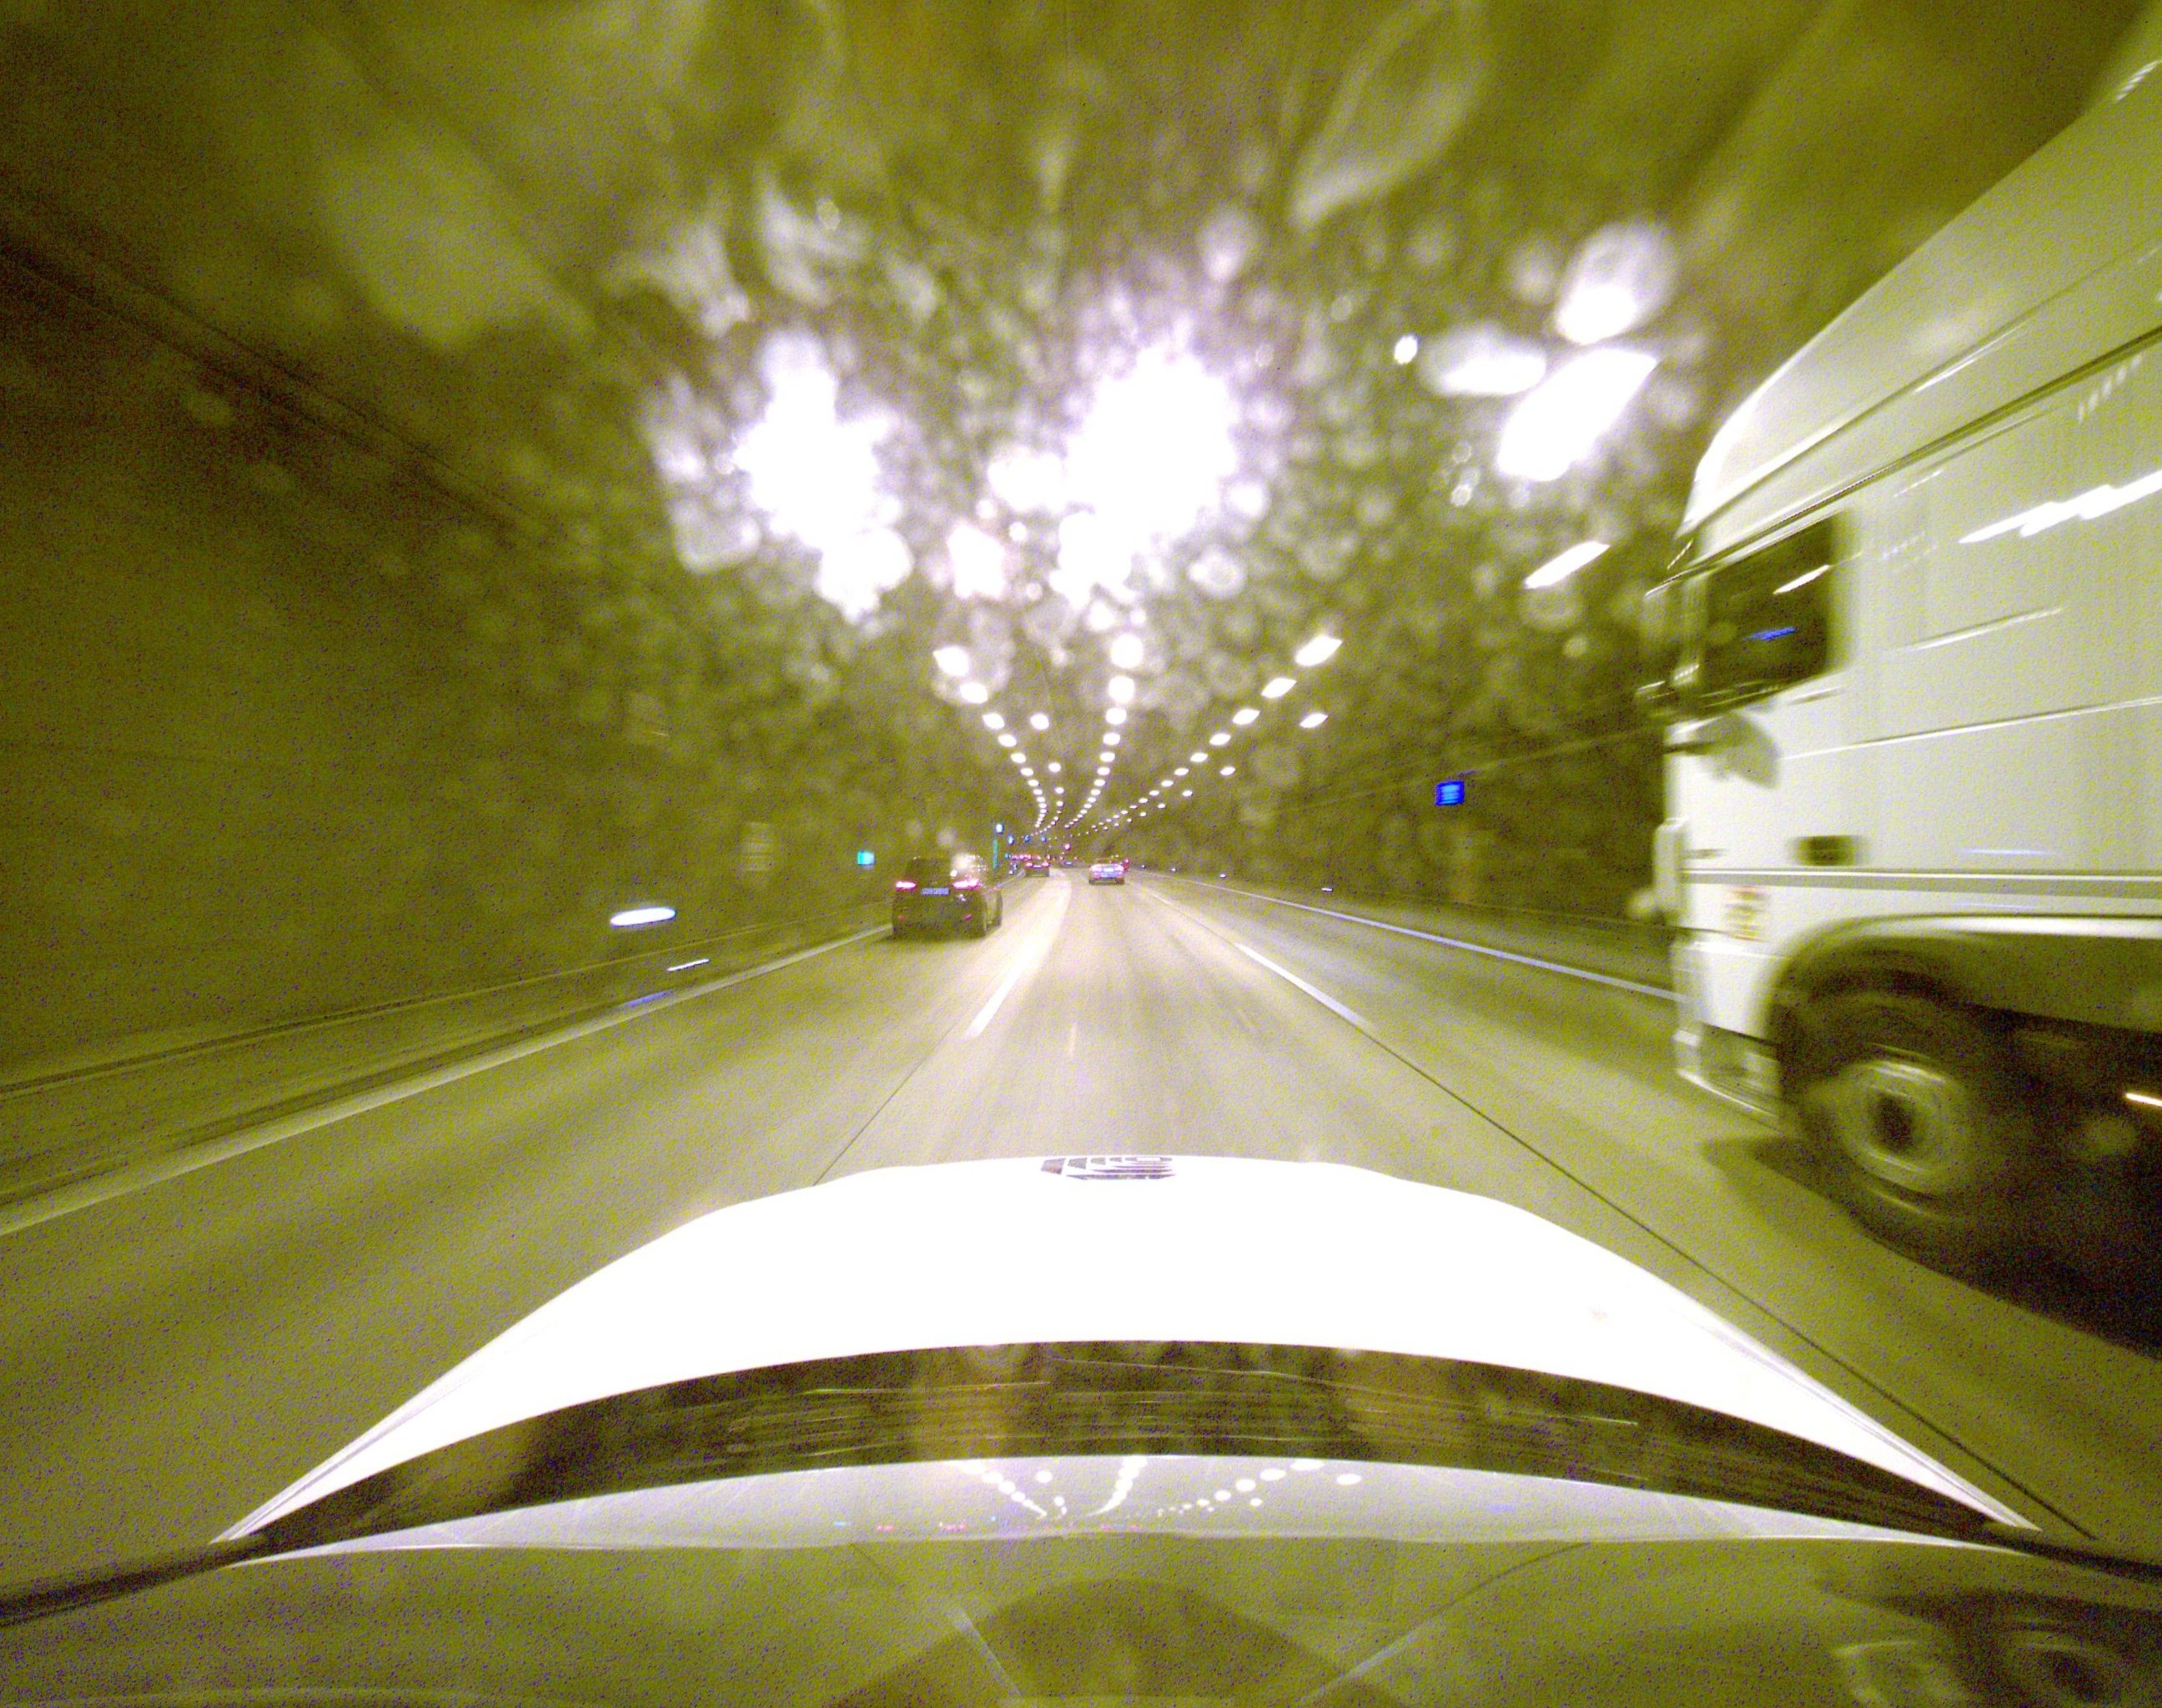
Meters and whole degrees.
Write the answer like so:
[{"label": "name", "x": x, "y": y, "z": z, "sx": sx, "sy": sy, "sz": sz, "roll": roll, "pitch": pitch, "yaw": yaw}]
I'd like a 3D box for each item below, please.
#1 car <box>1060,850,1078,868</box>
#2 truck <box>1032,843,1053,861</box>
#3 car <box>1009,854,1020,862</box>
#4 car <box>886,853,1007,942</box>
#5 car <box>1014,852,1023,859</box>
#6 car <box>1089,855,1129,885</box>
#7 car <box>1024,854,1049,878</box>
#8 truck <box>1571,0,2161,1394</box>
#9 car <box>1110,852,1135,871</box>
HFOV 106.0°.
[{"label": "car", "x": -1.446, "y": 0.591, "z": 96.364, "sx": 1.989, "sy": 1.972, "sz": 3.996, "roll": -1, "pitch": 0, "yaw": -3}, {"label": "truck", "x": -6.836, "y": -0.396, "z": 143.968, "sx": 3.080, "sy": 3.113, "sz": 10.005, "roll": 0, "pitch": 1, "yaw": -7}, {"label": "car", "x": -14.141, "y": 0.874, "z": 172.771, "sx": 1.994, "sy": 1.530, "sz": 3.985, "roll": 0, "pitch": -1, "yaw": -11}, {"label": "car", "x": -2.637, "y": 0.795, "z": 16.818, "sx": 1.779, "sy": 1.598, "sz": 3.801, "roll": -1, "pitch": 0, "yaw": 1}, {"label": "car", "x": -14.845, "y": 0.330, "z": 193.203, "sx": 1.993, "sy": 1.754, "sz": 3.986, "roll": 0, "pitch": -1, "yaw": -10}, {"label": "car", "x": 1.443, "y": 0.803, "z": 43.567, "sx": 1.987, "sy": 1.483, "sz": 3.999, "roll": -1, "pitch": 0, "yaw": 0}, {"label": "car", "x": -3.344, "y": 0.898, "z": 61.011, "sx": 1.796, "sy": 1.684, "sz": 3.995, "roll": -1, "pitch": 0, "yaw": -3}, {"label": "truck", "x": 4.109, "y": -0.683, "z": 1.781, "sx": 2.635, "sy": 4.163, "sz": 6.009, "roll": -1, "pitch": 0, "yaw": 3}, {"label": "car", "x": 3.800, "y": 0.666, "z": 74.384, "sx": 1.836, "sy": 1.602, "sz": 3.995, "roll": -1, "pitch": 0, "yaw": -3}]
